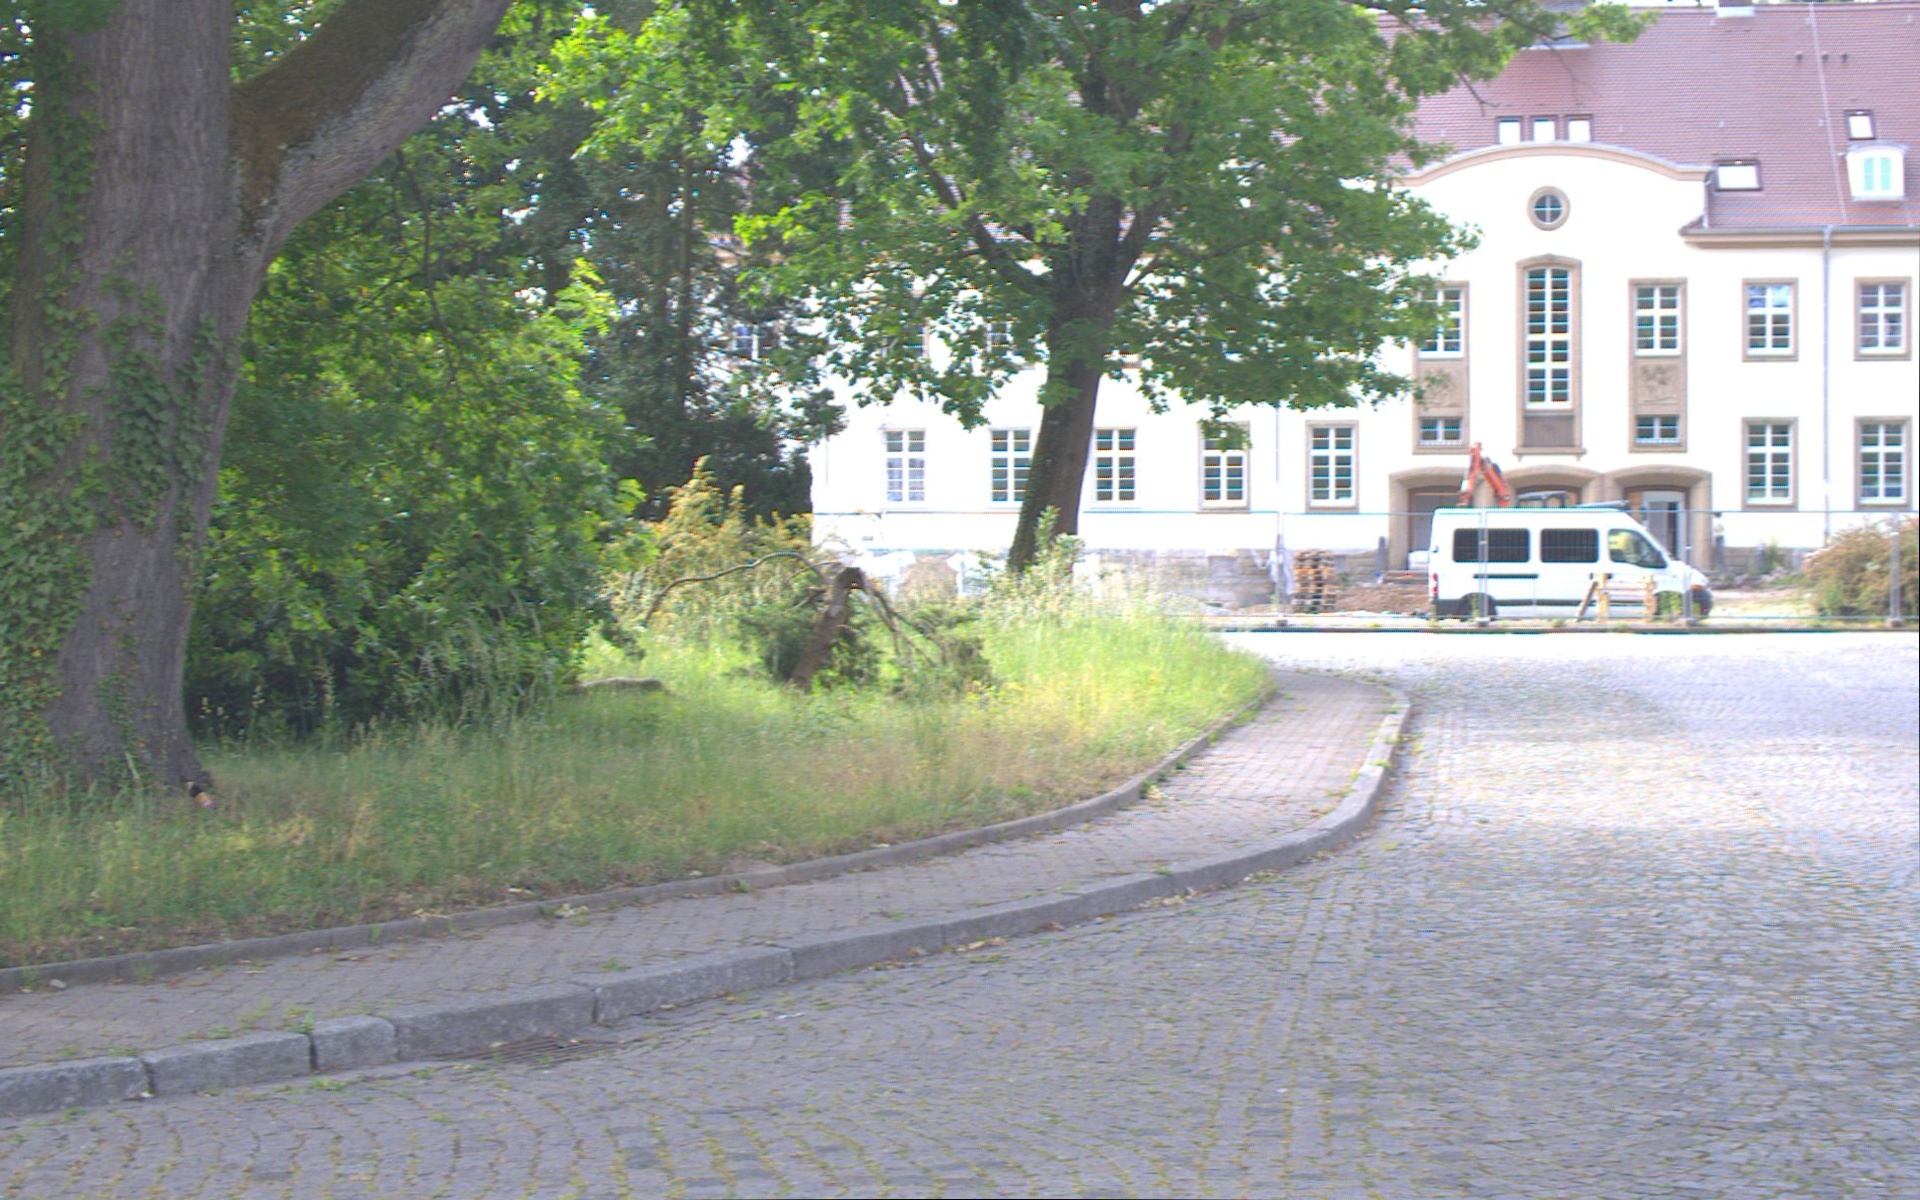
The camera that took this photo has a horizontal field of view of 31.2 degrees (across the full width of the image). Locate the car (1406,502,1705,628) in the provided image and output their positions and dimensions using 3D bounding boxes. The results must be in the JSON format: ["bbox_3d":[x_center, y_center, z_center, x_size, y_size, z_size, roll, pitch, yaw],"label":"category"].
[{"bbox_3d":[11.370,-0.691,65.888,5.516,2.199,2.126,1,4,9],"label":"car"}]
